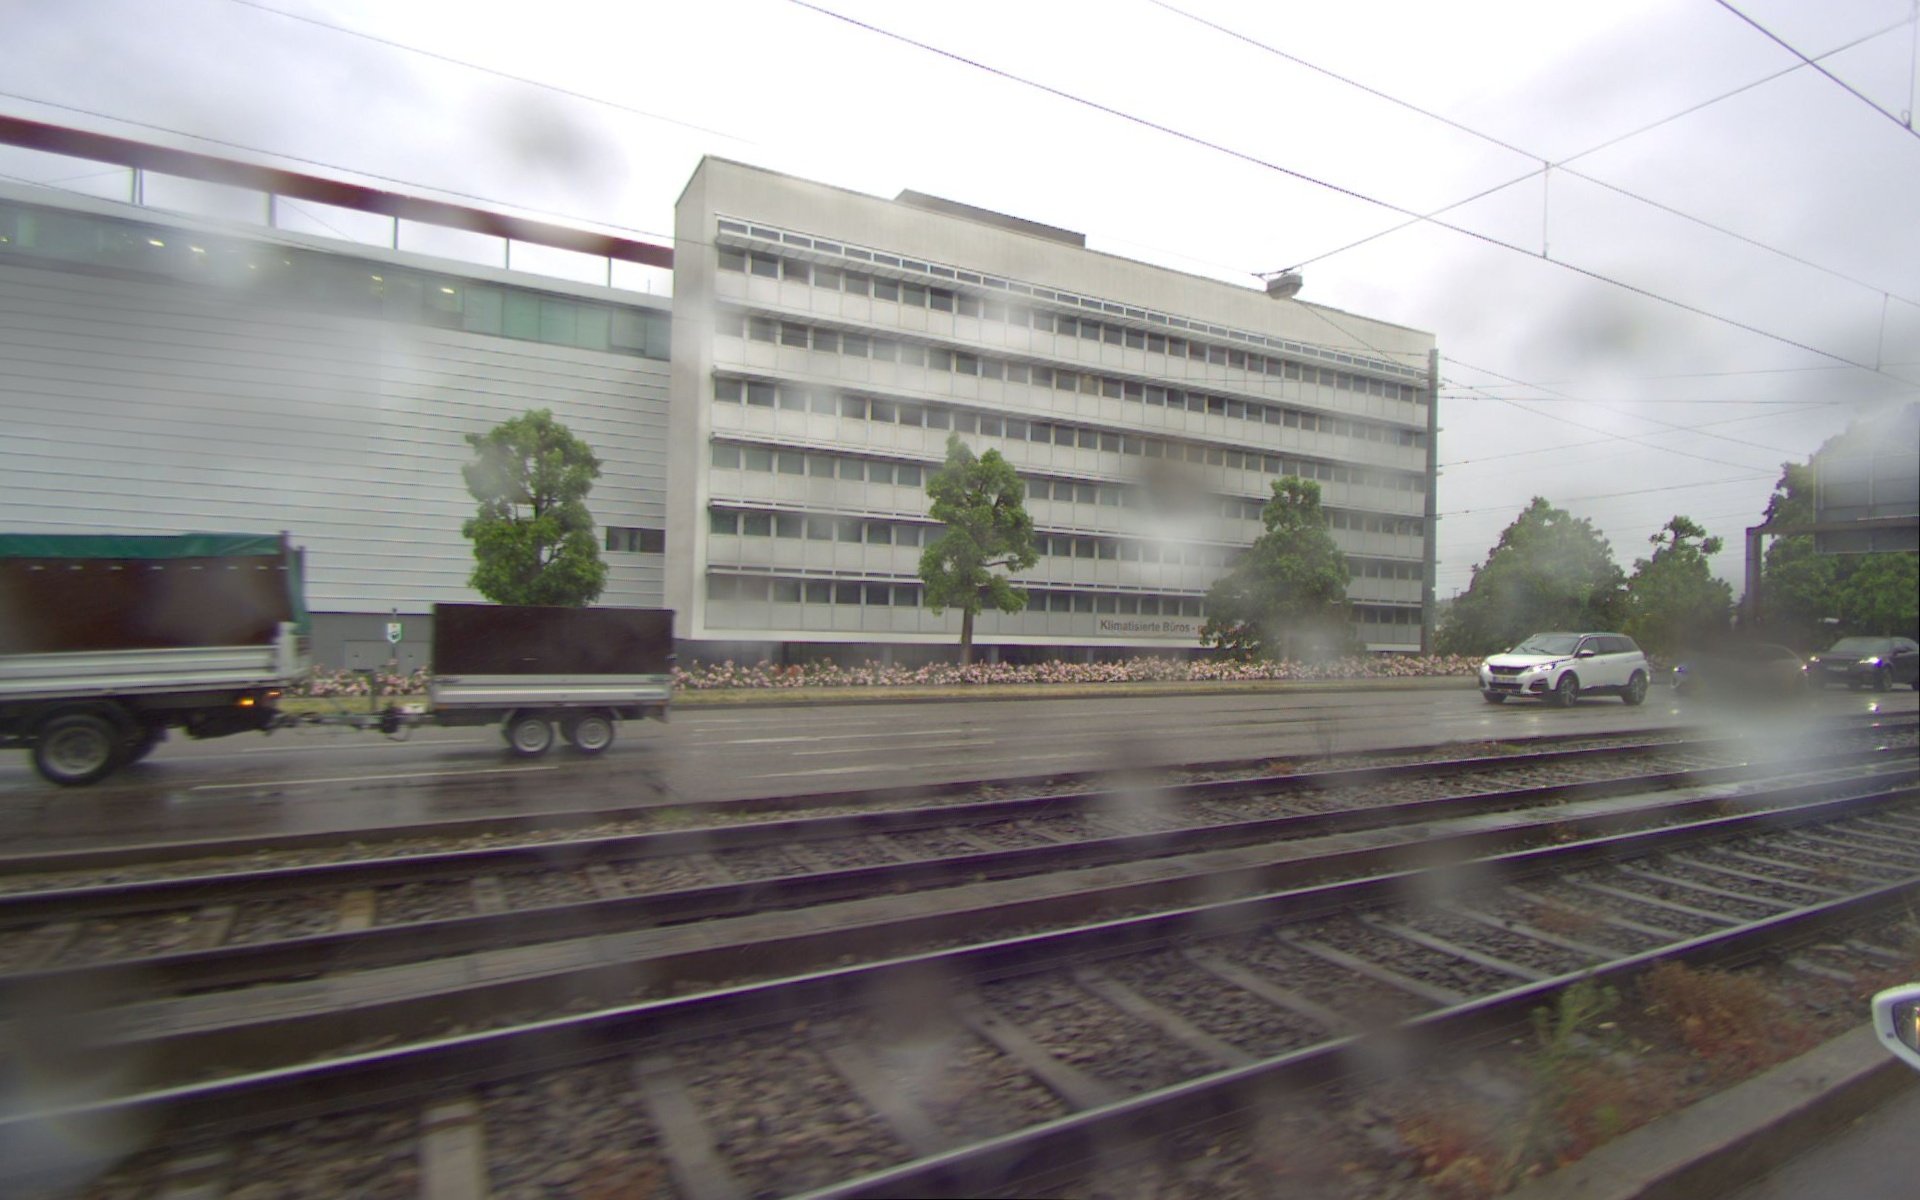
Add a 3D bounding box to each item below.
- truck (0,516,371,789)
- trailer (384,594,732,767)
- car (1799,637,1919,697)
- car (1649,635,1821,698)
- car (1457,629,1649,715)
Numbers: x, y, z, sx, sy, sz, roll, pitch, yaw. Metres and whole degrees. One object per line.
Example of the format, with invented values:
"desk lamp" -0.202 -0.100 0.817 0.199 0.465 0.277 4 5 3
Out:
"truck" -10.012 0.492 9.868 7.131 2.490 2.425 2 -2 -29
"trailer" -5.066 0.912 12.705 3.791 1.817 2.109 2 1 -30
"car" 28.610 2.039 31.528 4.823 1.744 1.984 1 -2 -30
"car" 21.310 1.767 27.591 4.706 1.604 1.986 1 -2 -28
"car" 13.629 1.581 23.019 4.635 1.705 1.762 2 1 -31
